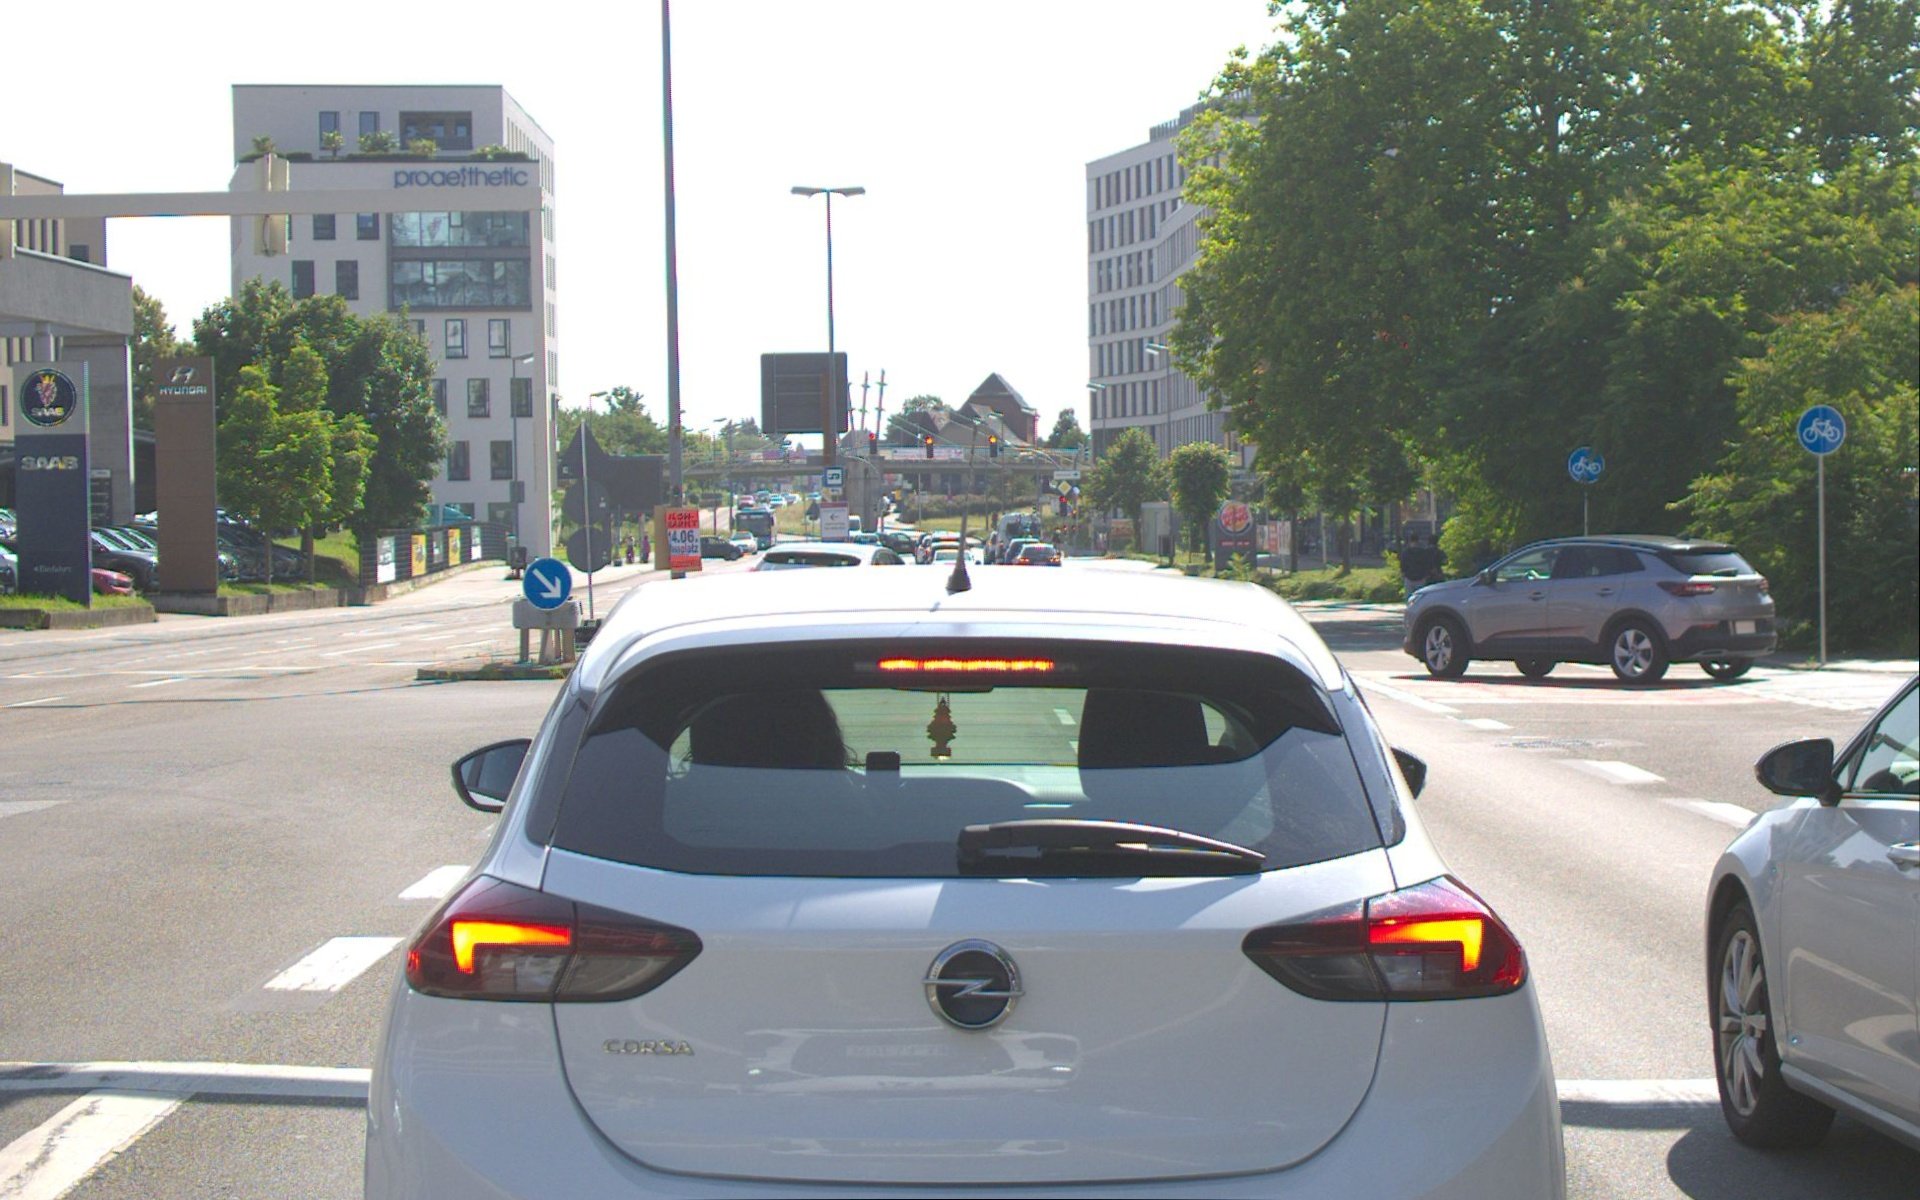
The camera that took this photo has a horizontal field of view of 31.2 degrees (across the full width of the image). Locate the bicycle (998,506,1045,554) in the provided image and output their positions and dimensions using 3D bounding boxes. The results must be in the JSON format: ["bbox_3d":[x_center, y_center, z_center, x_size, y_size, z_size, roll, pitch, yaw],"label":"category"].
[{"bbox_3d":[2.764,-3.161,155.395,1.993,2.150,4.000,-1,1,-1],"label":"bicycle"}]

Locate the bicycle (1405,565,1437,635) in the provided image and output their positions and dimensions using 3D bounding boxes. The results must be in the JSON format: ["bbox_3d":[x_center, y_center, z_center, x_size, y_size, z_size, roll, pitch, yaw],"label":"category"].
[{"bbox_3d":[8.133,-0.002,60.690,0.372,1.212,1.154,1,1,-1],"label":"bicycle"}]

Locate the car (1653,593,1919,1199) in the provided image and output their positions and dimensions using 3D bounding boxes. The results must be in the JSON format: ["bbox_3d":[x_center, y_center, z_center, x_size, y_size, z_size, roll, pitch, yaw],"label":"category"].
[{"bbox_3d":[2.815,0.709,7.233,1.807,1.424,4.000,-1,1,-1],"label":"car"}]

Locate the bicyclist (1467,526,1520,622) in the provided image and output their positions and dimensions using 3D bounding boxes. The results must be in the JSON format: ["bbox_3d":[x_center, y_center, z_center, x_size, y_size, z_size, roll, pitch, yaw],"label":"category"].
[{"bbox_3d":[9.285,-0.457,59.858,0.688,1.637,0.777,-1,1,-9],"label":"bicyclist"}]

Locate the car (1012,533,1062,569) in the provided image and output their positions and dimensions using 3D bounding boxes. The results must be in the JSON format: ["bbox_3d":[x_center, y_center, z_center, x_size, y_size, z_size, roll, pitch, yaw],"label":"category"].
[{"bbox_3d":[3.005,-1.919,135.277,1.806,1.381,4.000,1,0,-1],"label":"car"}]

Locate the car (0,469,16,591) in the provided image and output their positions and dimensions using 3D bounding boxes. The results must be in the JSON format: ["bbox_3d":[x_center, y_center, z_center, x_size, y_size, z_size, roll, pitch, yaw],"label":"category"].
[{"bbox_3d":[-22.561,-1.466,73.042,4.357,2.592,2.000,-1,1,5],"label":"car"}]

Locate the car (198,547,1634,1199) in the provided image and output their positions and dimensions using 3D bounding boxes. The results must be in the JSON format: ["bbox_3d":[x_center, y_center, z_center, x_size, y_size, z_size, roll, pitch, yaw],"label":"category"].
[{"bbox_3d":[-0.077,0.662,6.284,1.779,1.489,4.000,-1,1,-1],"label":"car"}]

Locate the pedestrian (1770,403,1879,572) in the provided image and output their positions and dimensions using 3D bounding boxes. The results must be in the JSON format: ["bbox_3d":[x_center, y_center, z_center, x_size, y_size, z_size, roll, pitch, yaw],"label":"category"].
[{"bbox_3d":[10.457,-1.358,41.616,1.027,2.007,1.039,-1,1,-1],"label":"pedestrian"}]

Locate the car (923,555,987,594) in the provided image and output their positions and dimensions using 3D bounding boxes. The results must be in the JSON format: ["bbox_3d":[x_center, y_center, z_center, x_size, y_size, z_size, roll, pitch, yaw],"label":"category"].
[{"bbox_3d":[-0.193,-0.881,120.741,1.993,1.327,4.000,1,0,-3],"label":"car"}]

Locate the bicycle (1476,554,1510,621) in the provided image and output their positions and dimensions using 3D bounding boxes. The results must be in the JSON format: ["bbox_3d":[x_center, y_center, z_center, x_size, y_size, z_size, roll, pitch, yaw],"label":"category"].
[{"bbox_3d":[9.283,-0.217,59.900,0.373,1.143,1.034,1,0,-3],"label":"bicycle"}]

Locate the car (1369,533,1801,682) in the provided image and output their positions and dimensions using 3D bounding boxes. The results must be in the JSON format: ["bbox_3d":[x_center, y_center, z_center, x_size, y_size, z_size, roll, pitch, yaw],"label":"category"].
[{"bbox_3d":[6.925,0.055,38.427,1.995,1.546,4.431,-2,1,-43],"label":"car"}]

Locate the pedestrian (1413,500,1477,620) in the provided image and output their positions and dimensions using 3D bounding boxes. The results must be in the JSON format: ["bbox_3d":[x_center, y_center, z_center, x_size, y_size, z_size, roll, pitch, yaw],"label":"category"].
[{"bbox_3d":[9.120,-0.759,64.687,1.027,2.231,1.039,-1,1,-1],"label":"pedestrian"}]

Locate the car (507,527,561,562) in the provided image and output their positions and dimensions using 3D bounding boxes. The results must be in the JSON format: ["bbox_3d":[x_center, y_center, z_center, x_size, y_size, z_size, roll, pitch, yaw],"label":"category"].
[{"bbox_3d":[-17.596,-2.275,142.128,1.806,1.381,4.000,1,0,-1],"label":"car"}]

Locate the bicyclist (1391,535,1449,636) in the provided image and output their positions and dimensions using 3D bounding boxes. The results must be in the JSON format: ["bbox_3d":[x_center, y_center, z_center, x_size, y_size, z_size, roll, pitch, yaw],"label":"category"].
[{"bbox_3d":[8.122,-0.260,60.694,0.879,1.766,0.864,-1,1,0],"label":"bicyclist"}]

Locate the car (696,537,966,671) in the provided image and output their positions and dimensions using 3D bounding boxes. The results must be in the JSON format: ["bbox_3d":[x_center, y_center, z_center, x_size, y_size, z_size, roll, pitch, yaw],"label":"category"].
[{"bbox_3d":[-1.418,0.013,39.718,1.995,1.442,4.368,0,1,14],"label":"car"}]
